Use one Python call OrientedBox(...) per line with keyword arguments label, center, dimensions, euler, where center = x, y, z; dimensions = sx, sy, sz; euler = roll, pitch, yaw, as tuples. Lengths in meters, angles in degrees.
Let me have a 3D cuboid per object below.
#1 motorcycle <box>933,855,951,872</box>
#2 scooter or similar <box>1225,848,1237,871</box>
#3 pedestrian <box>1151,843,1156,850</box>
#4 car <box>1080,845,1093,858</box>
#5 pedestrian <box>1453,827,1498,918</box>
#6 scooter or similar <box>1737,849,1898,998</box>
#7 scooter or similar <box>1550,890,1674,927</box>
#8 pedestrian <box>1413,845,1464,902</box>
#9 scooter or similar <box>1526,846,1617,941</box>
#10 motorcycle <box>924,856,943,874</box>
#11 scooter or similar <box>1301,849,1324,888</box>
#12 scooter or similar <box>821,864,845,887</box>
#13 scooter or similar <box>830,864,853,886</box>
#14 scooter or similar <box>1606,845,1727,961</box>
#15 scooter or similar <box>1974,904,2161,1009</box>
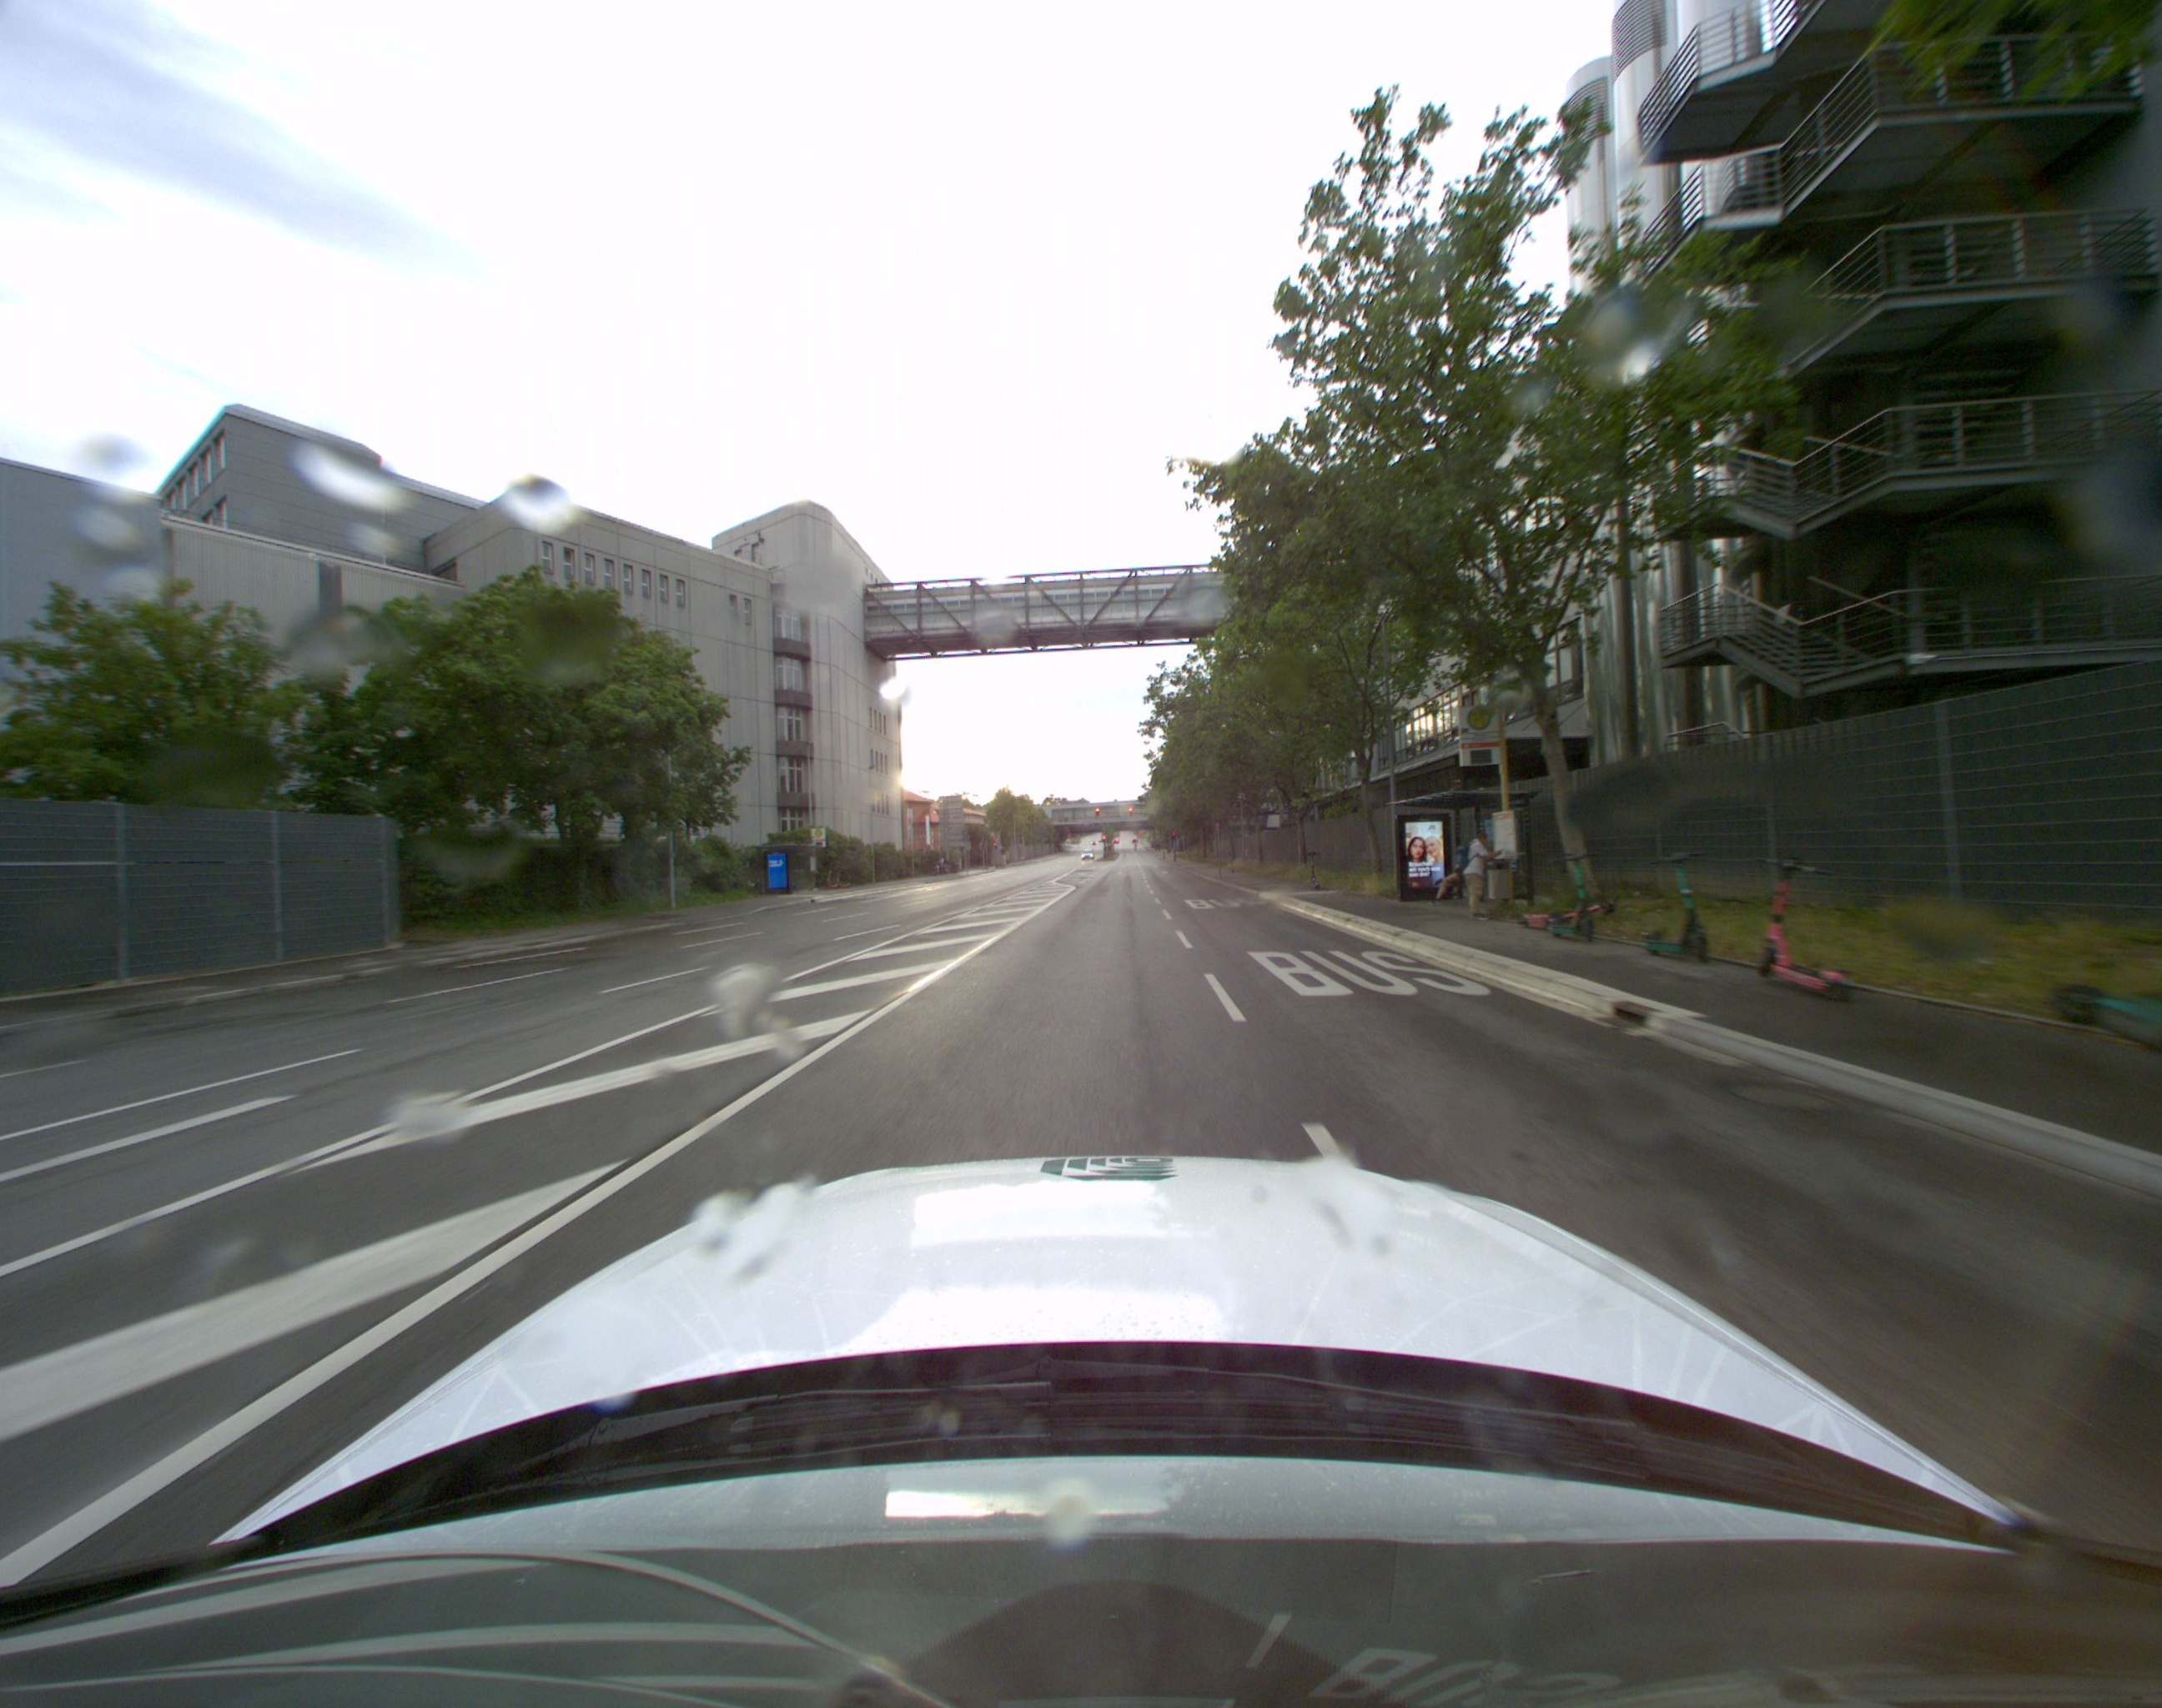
OrientedBox(label="motorcycle", center=(-12.948, 0.884, 76.022), dimensions=(0.955, 1.556, 3.300), euler=(-2, 0, 1))
OrientedBox(label="scooter or similar", center=(9.199, 0.306, 49.981), dimensions=(0.605, 1.366, 1.926), euler=(-2, 0, 8))
OrientedBox(label="pedestrian", center=(18.860, -1.951, 211.328), dimensions=(1.049, 2.013, 1.155), euler=(-2, 0, 14))
OrientedBox(label="car", center=(0.857, -0.377, 126.174), dimensions=(1.987, 1.772, 3.999), euler=(-2, 0, 0))
OrientedBox(label="pedestrian", center=(7.464, 0.335, 15.441), dimensions=(0.479, 1.667, 0.662), euler=(-2, 0, 1))
OrientedBox(label="scooter or similar", center=(6.828, 0.595, 7.618), dimensions=(0.431, 1.270, 1.195), euler=(-2, 0, 3))
OrientedBox(label="scooter or similar", center=(8.520, 0.878, 13.138), dimensions=(1.548, 0.519, 0.646), euler=(-2, 0, 19))
OrientedBox(label="pedestrian", center=(8.648, 0.461, 19.714), dimensions=(0.945, 1.316, 0.687), euler=(-2, 0, 9))
OrientedBox(label="scooter or similar", center=(7.163, 0.544, 11.954), dimensions=(0.500, 1.293, 1.435), euler=(-2, 0, 3))
OrientedBox(label="motorcycle", center=(-13.093, 0.938, 72.336), dimensions=(0.910, 1.532, 3.300), euler=(-2, 0, 1))
OrientedBox(label="scooter or similar", center=(7.945, 0.486, 27.998), dimensions=(0.694, 1.244, 1.929), euler=(-2, 0, 15))
OrientedBox(label="scooter or similar", center=(-14.123, 1.217, 46.397), dimensions=(0.521, 1.252, 1.803), euler=(-2, 0, 8))
OrientedBox(label="scooter or similar", center=(-14.215, 1.218, 48.410), dimensions=(0.494, 1.252, 1.926), euler=(-2, 0, 8))
OrientedBox(label="scooter or similar", center=(7.083, 0.552, 9.926), dimensions=(0.473, 1.293, 1.435), euler=(-2, 0, 3))
OrientedBox(label="scooter or similar", center=(8.379, 0.809, 6.535), dimensions=(0.656, 0.713, 1.511), euler=(-3, 0, -28))
